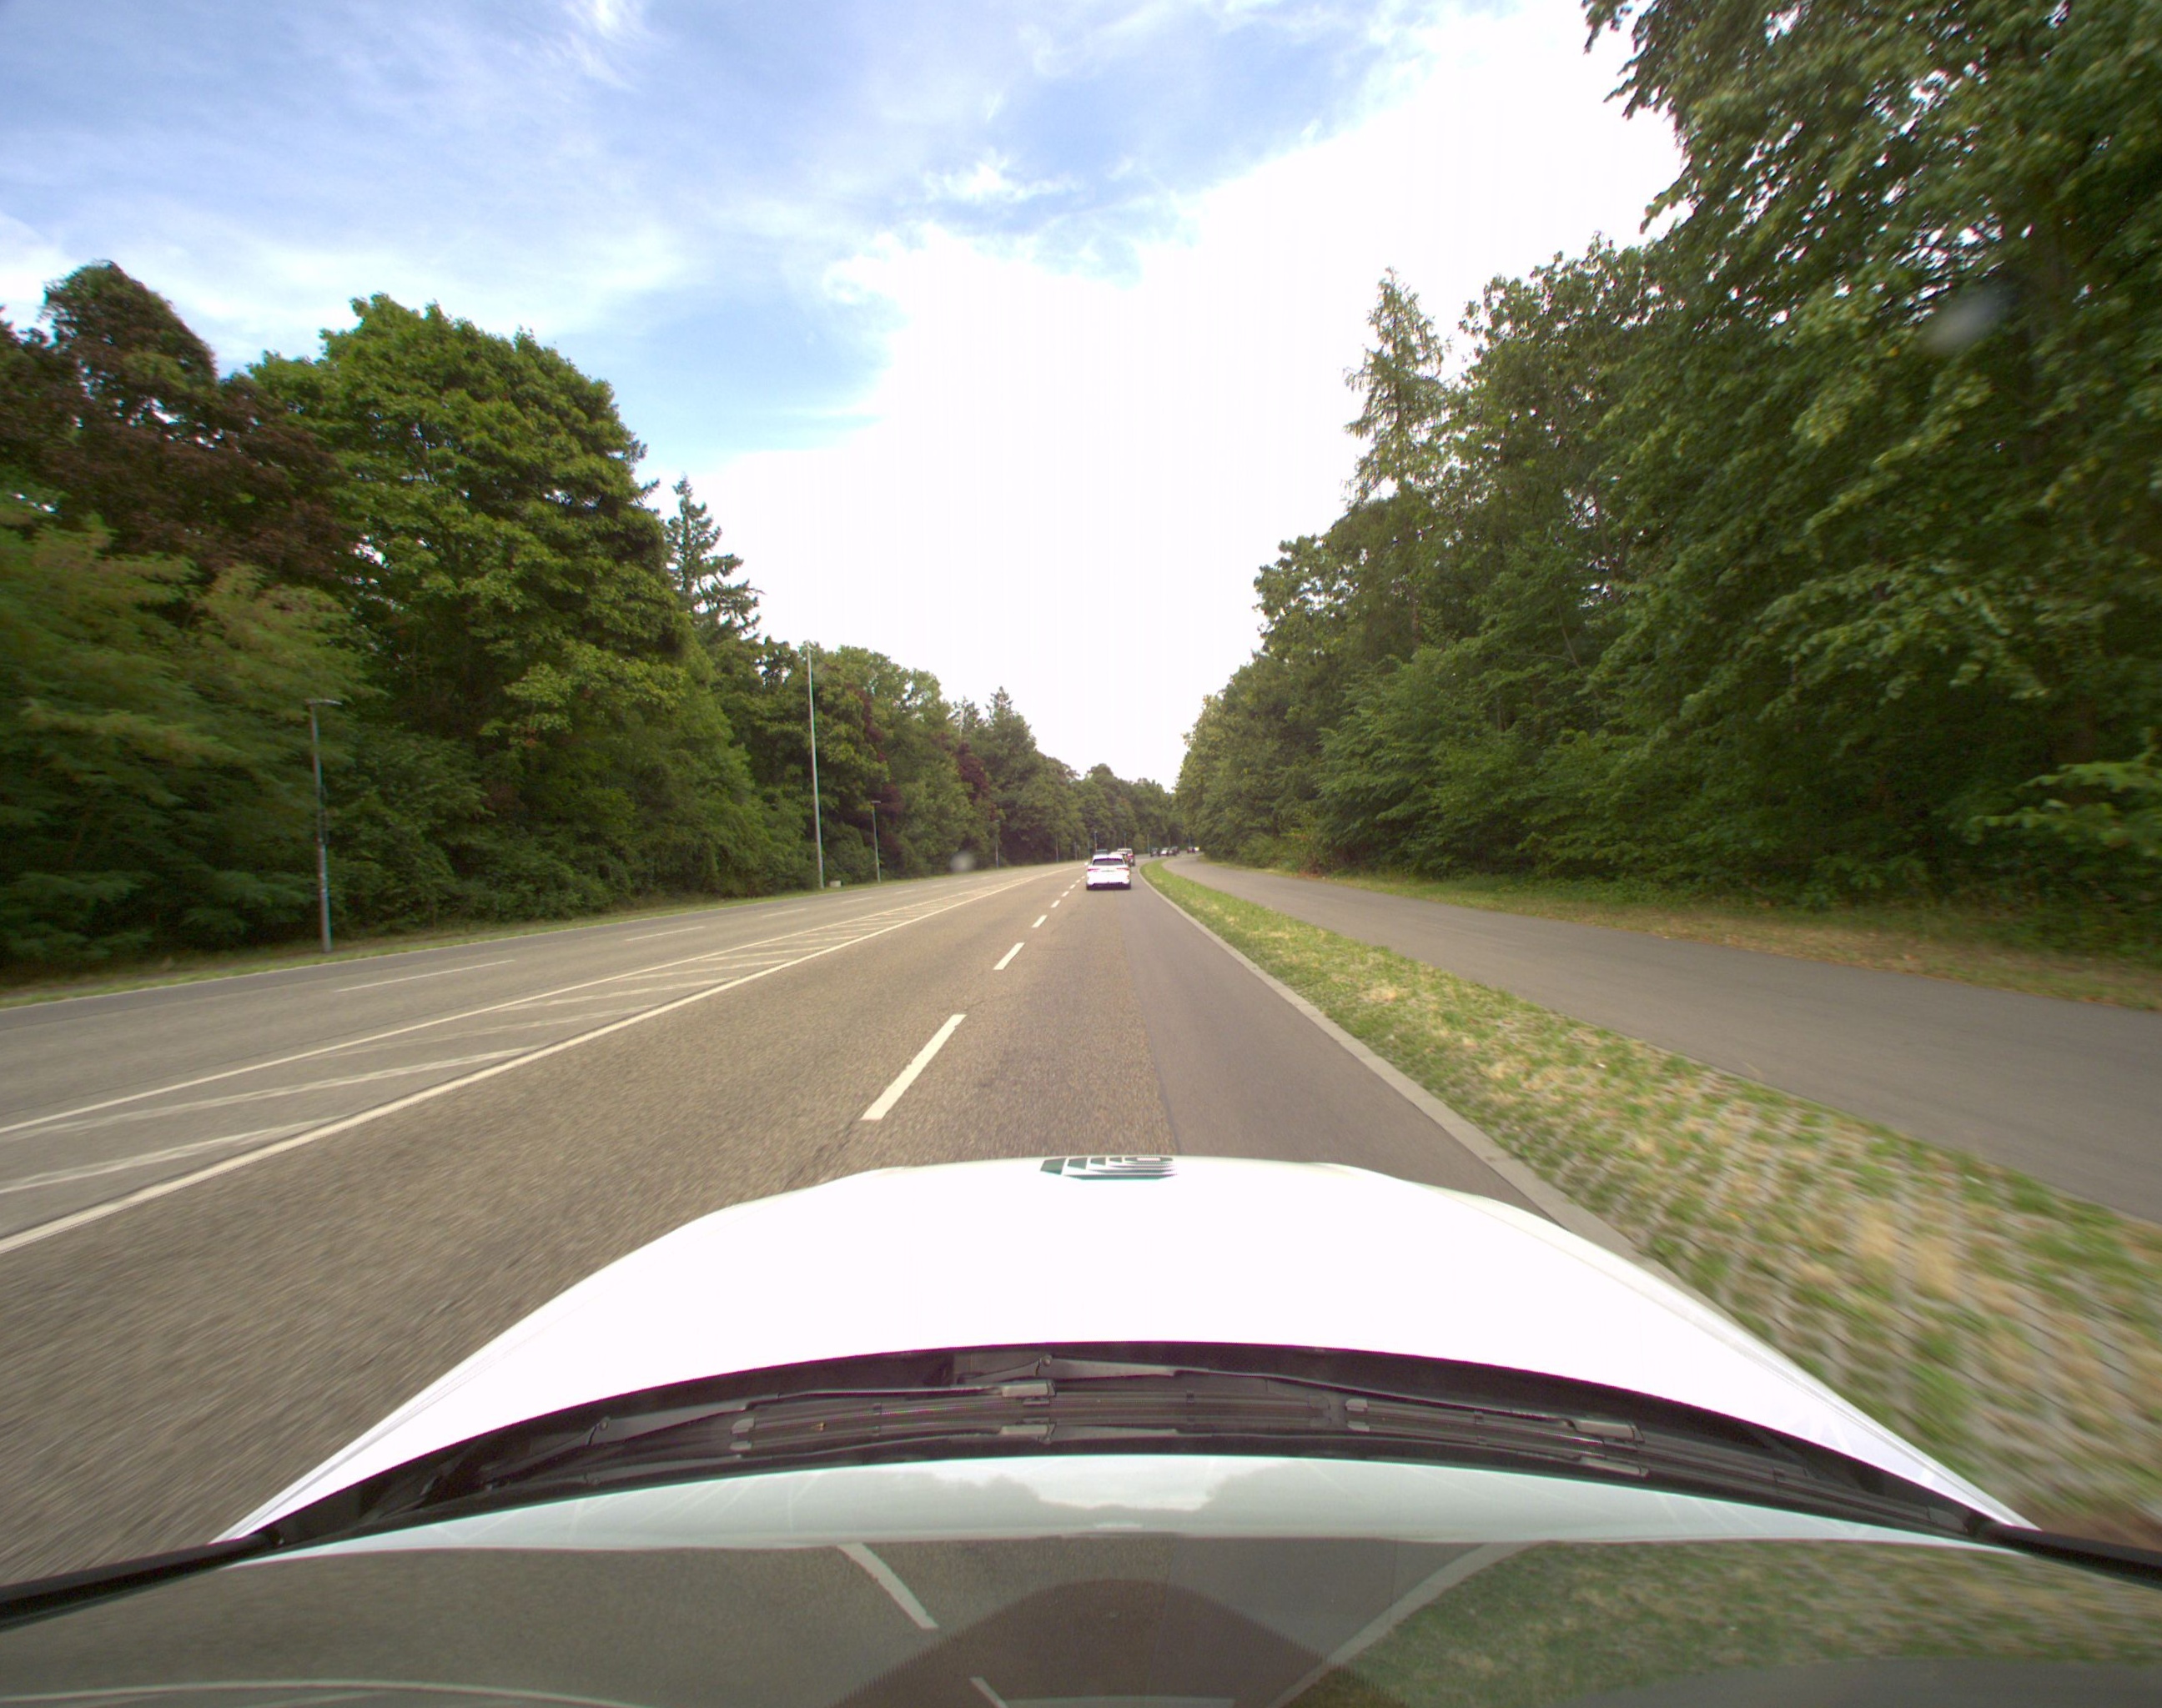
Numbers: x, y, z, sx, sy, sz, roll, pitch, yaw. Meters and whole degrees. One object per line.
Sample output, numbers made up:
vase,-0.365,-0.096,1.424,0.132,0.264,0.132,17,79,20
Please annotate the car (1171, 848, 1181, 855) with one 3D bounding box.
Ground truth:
car,23.260,-0.635,199.179,1.980,1.783,4.013,0,-1,12

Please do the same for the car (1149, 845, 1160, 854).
car,14.736,-0.859,162.898,1.981,1.783,4.011,0,-1,10

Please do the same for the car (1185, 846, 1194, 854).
car,27.472,-0.968,205.888,1.979,1.783,4.015,0,-1,14

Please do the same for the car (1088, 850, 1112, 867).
car,2.079,0.454,87.957,1.981,1.786,4.011,0,-1,10

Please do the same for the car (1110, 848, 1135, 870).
car,2.803,0.355,55.870,1.629,1.420,4.001,0,-1,2

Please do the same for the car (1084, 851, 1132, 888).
car,1.058,0.620,33.651,1.830,1.410,4.489,0,-1,0

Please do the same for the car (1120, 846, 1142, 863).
car,4.830,0.047,78.430,1.983,1.607,4.007,0,-1,6

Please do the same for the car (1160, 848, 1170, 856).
car,18.690,-0.440,181.060,1.980,1.783,4.012,0,-1,11

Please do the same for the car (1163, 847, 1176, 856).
car,17.551,-0.523,160.884,1.979,1.783,4.015,0,-1,14

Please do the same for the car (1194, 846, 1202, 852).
car,35.313,-1.440,245.706,1.873,1.816,4.018,0,-1,17
